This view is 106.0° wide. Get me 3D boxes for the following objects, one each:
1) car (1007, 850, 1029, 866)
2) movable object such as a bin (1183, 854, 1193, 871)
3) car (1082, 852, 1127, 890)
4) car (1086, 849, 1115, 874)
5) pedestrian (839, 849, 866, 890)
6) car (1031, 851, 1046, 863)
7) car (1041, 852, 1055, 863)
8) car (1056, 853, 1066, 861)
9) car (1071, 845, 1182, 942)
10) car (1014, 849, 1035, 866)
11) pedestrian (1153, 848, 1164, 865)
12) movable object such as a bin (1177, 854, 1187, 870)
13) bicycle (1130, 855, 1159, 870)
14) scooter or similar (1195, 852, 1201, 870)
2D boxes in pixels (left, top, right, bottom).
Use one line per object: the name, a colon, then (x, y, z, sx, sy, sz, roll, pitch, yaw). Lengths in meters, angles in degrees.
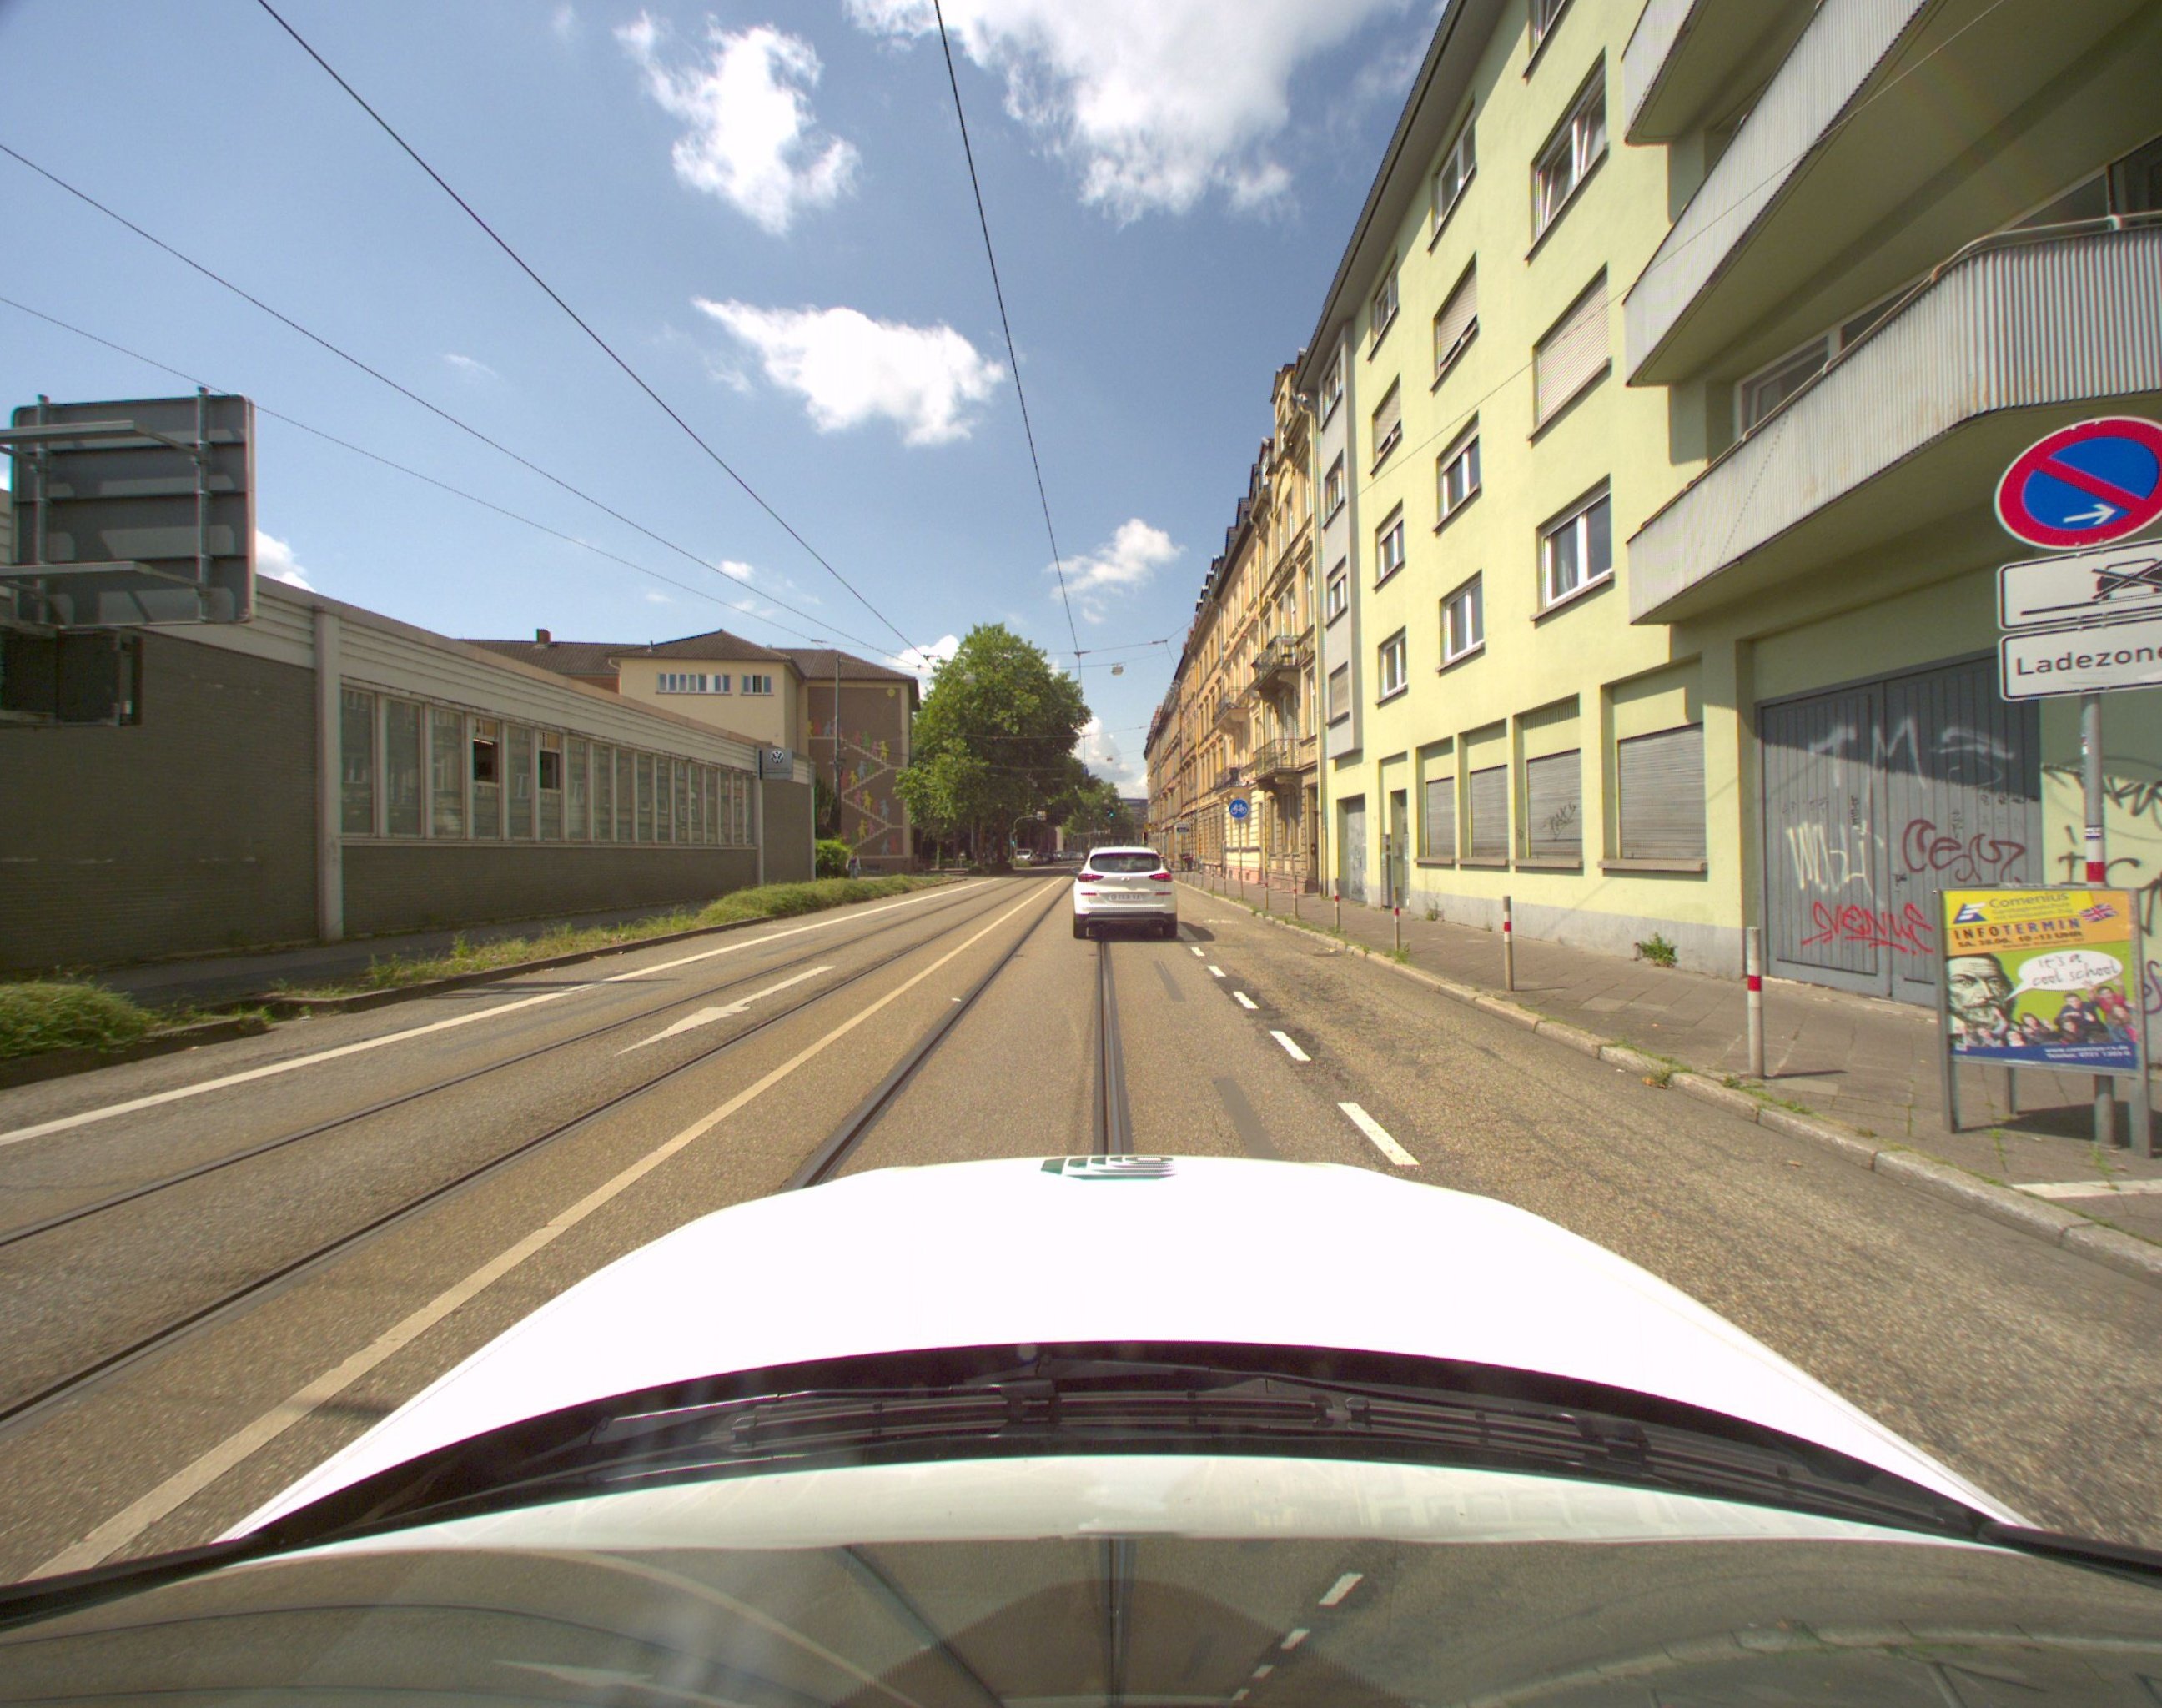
car: (-6.668, 0.409, 86.764, 1.943, 1.632, 4.577, 0, 0, 1)
movable object such as a bin: (7.456, 0.596, 56.783, 0.610, 1.143, 0.639, 0, 0, 1)
car: (1.050, 0.703, 35.325, 1.807, 1.524, 4.087, -1, 0, 2)
car: (1.260, 0.466, 53.076, 1.808, 1.524, 3.957, -1, 0, 1)
pedestrian: (-10.667, 0.714, 38.088, 0.877, 1.865, 1.081, -2, 0, 1)
car: (-5.955, 0.350, 113.467, 1.944, 1.632, 3.998, 0, 0, -1)
car: (-5.084, 0.479, 125.771, 1.944, 1.632, 3.998, 0, 0, -1)
car: (-3.864, 0.576, 157.018, 1.944, 1.632, 3.998, 0, 0, -1)
car: (0.751, 0.665, 15.925, 1.847, 1.634, 4.178, 0, 0, -1)
car: (-6.427, 0.351, 92.842, 1.943, 1.895, 4.566, 0, 0, 1)
pedestrian: (7.070, 0.235, 74.754, 0.934, 1.572, 1.050, 0, 0, 1)
movable object such as a bin: (7.227, 0.547, 58.217, 0.610, 1.143, 0.639, -1, 0, 1)
bicycle: (5.083, 0.687, 65.209, 2.261, 1.144, 0.584, 0, 0, -1)
scooter or similar: (7.716, 0.480, 53.715, 0.394, 1.164, 0.486, 0, 0, 1)
